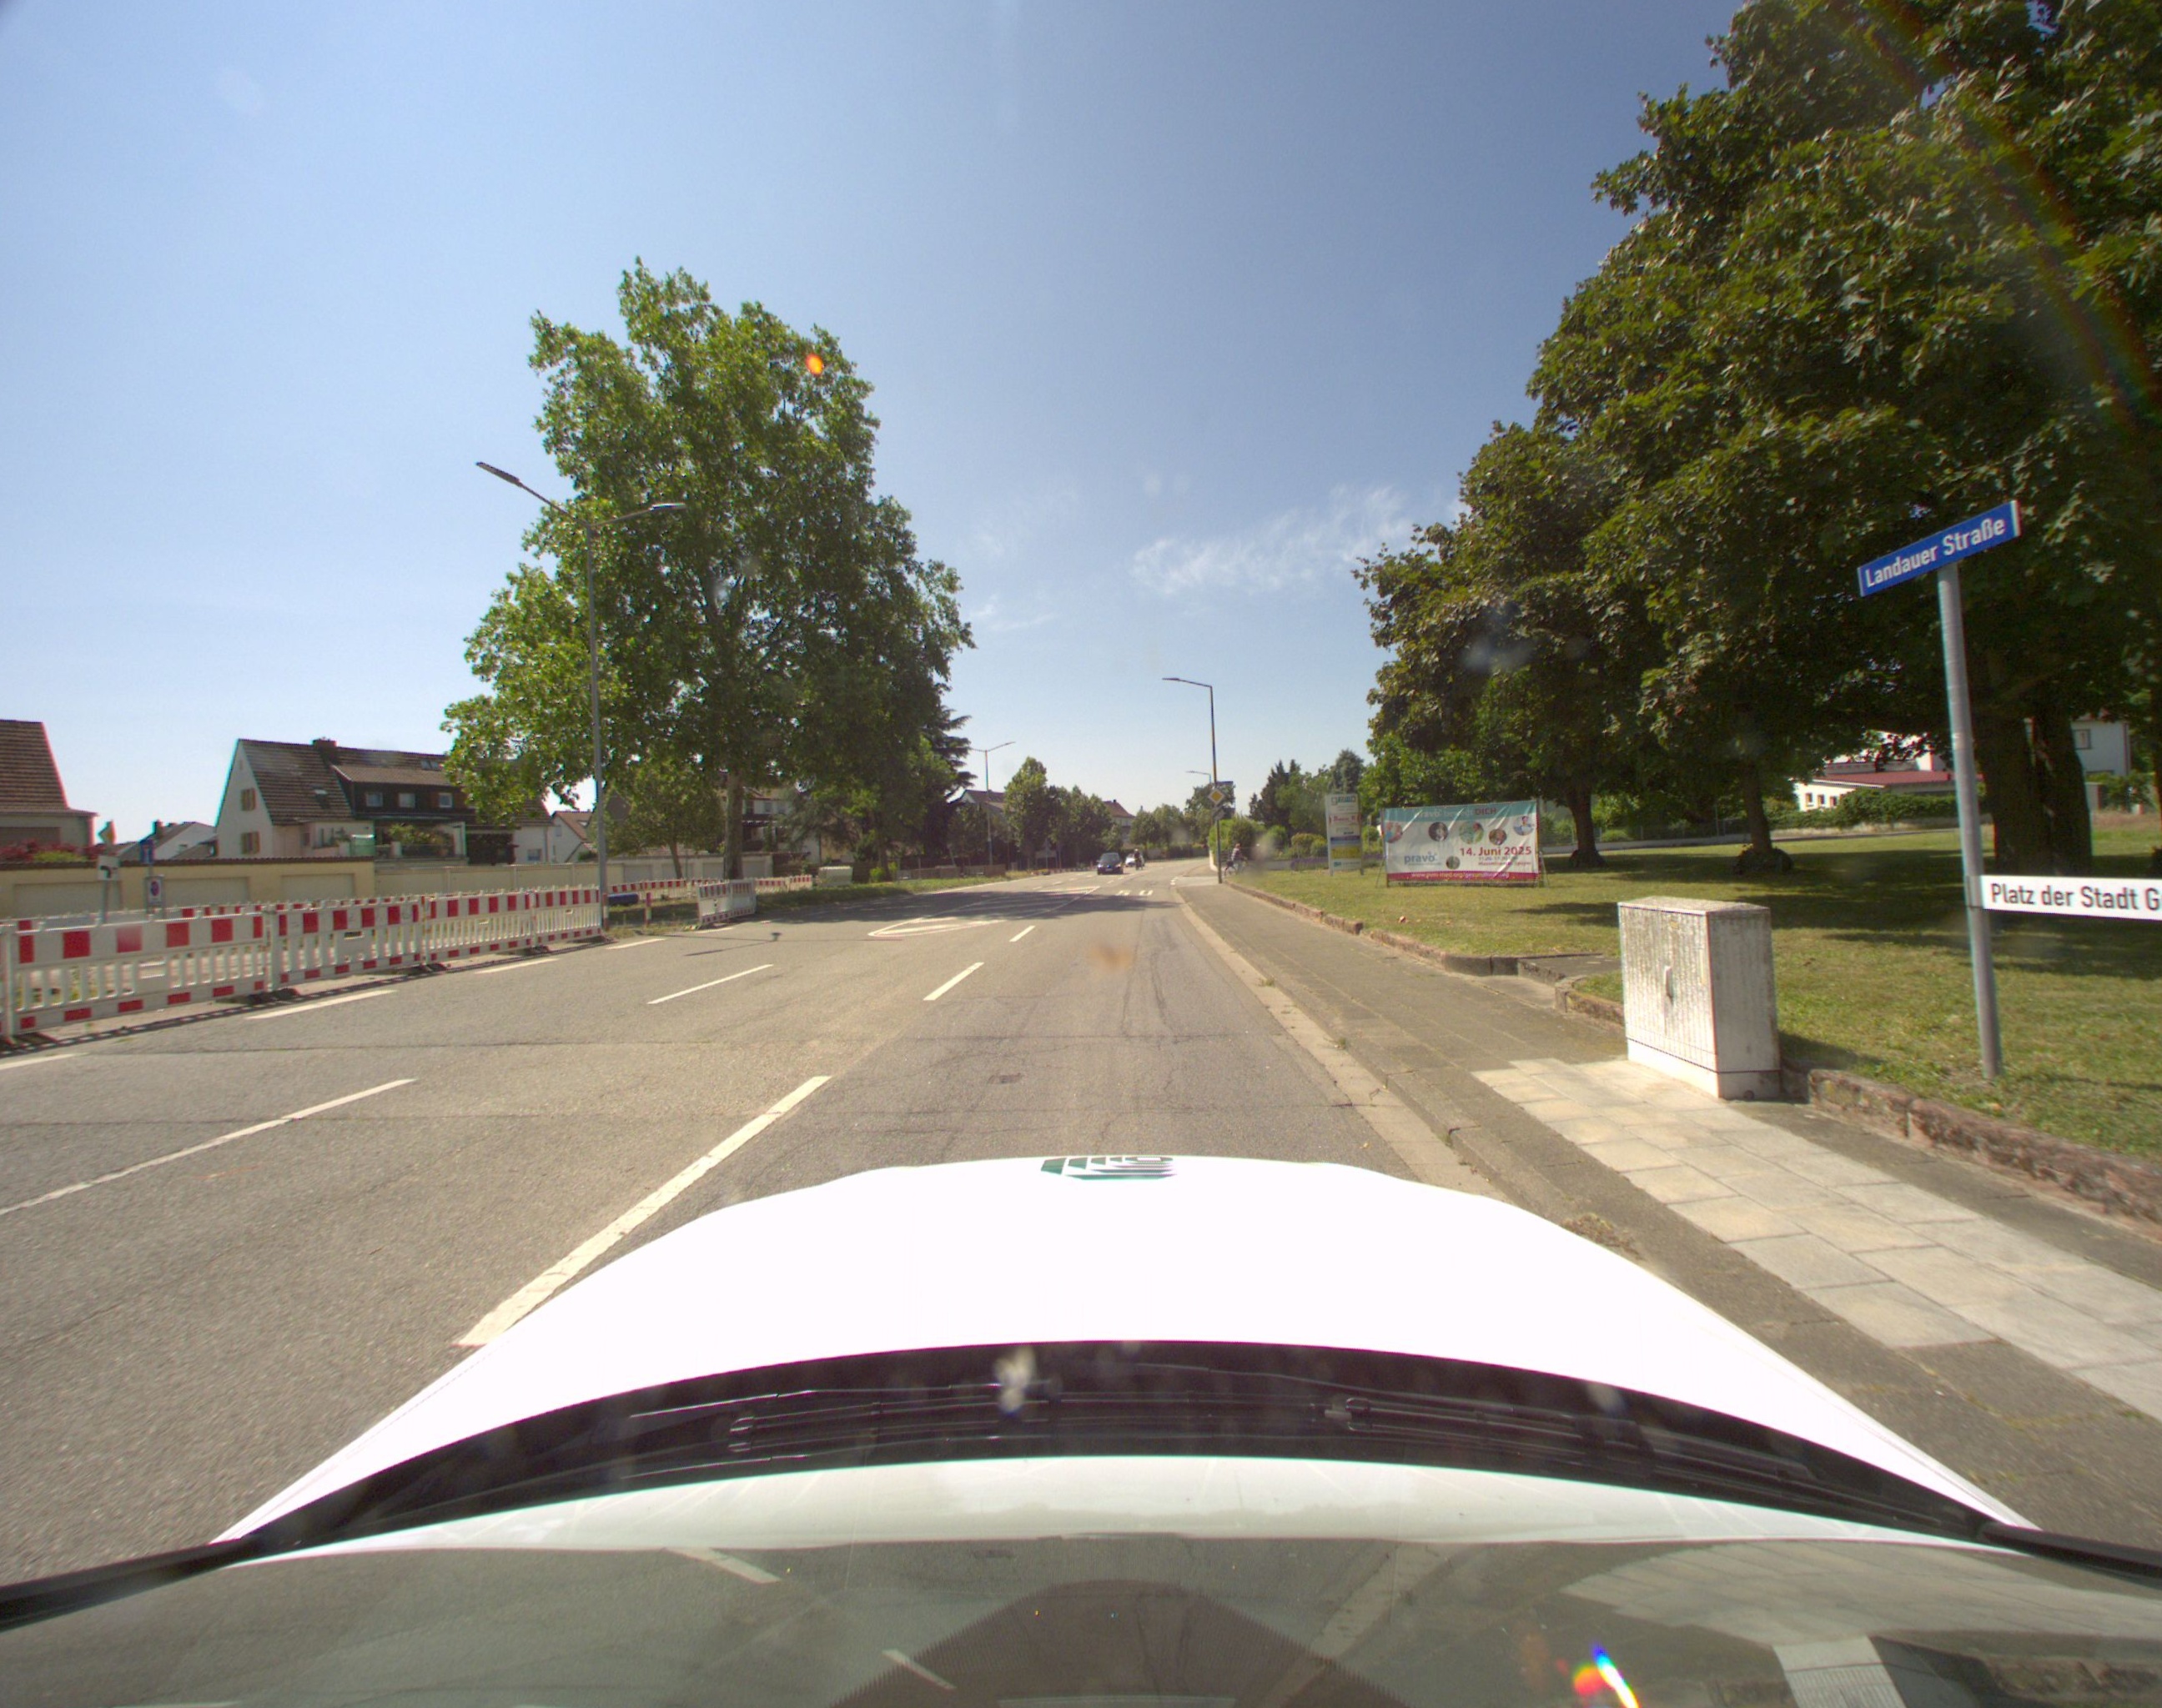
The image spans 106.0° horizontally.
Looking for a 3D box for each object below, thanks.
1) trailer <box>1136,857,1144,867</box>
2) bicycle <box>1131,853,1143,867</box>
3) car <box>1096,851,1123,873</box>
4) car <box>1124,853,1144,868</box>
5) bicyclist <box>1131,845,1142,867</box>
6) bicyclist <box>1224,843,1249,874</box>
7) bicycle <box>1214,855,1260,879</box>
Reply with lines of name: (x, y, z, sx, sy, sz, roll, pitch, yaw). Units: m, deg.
trailer: (5.335, 0.695, 73.987, 0.567, 0.856, 1.135, -2, 0, 9)
bicycle: (4.961, 0.557, 72.458, 0.845, 1.166, 1.982, -2, 0, 9)
car: (2.174, 0.599, 61.254, 1.717, 1.532, 3.836, -1, 0, 6)
car: (5.844, 0.725, 89.469, 1.687, 1.510, 3.471, -1, 0, 13)
bicyclist: (4.948, 0.191, 72.475, 0.841, 1.865, 0.979, -2, 0, 8)
bicyclist: (8.005, 0.257, 41.908, 0.928, 1.530, 0.851, -3, 0, -18)
bicycle: (8.033, 0.662, 41.911, 2.145, 1.103, 0.811, -3, 0, -18)
